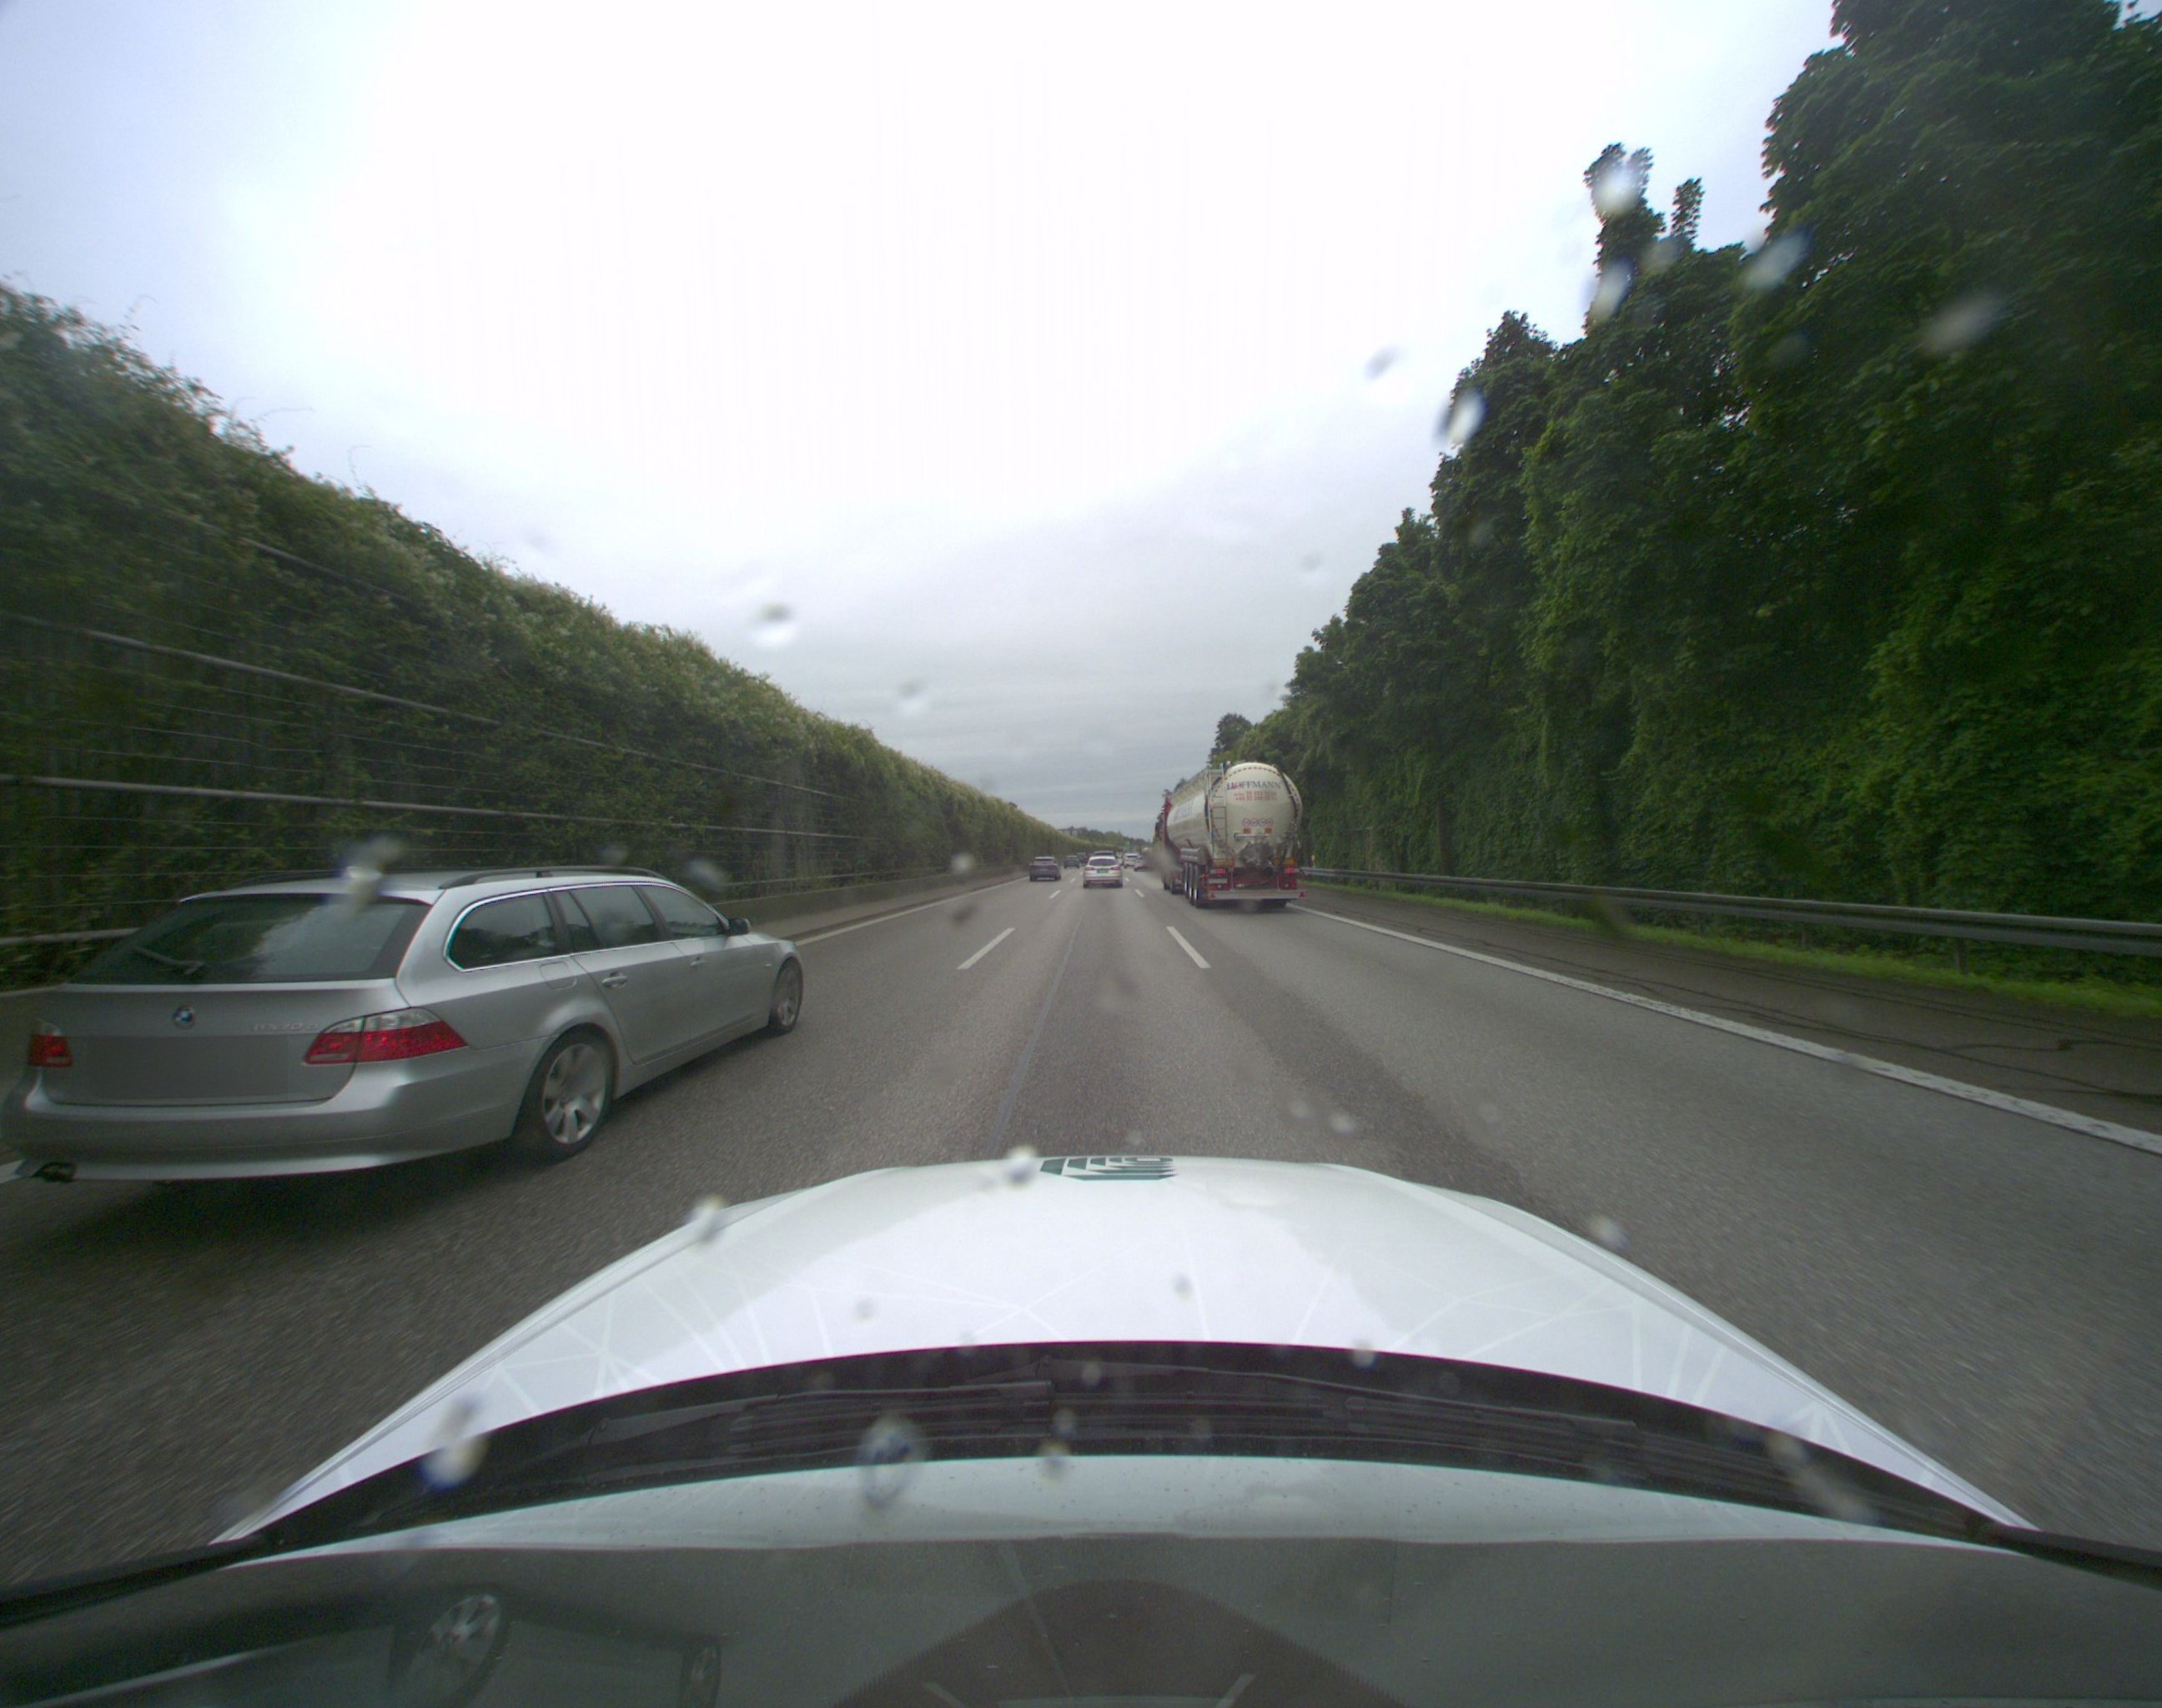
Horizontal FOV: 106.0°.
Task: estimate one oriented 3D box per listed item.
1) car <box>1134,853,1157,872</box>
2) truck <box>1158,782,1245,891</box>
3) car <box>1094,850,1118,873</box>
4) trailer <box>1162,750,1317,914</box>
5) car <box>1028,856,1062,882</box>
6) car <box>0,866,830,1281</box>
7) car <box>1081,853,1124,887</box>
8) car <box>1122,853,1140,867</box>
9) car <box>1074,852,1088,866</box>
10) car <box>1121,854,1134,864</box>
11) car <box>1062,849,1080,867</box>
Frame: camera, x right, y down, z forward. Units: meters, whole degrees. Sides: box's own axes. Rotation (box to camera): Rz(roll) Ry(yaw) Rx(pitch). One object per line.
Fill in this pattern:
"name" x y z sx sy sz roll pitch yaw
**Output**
"car" 5.820 0.738 73.819 1.810 1.625 5.030 -1 0 1
"truck" 4.686 -0.609 32.876 2.685 3.912 6.558 0 -1 1
"car" 1.860 0.540 61.247 1.683 1.506 3.873 3 1 1
"trailer" 4.502 -0.484 26.313 2.658 3.939 13.132 -1 -1 1
"car" -2.151 0.861 50.236 1.713 1.512 5.032 -1 0 2
"car" -3.385 0.826 5.428 1.713 1.469 5.031 0 -1 2
"car" 0.989 0.761 39.006 1.885 1.504 5.030 -1 -1 1
"car" 5.468 0.626 89.099 1.683 1.506 3.870 0 -1 0
"car" 0.088 0.756 124.178 1.986 2.013 4.002 -1 0 2
"car" 6.478 0.750 113.066 1.682 1.331 3.872 0 -1 2
"car" -1.140 0.503 94.454 1.986 2.013 3.843 -1 0 2
